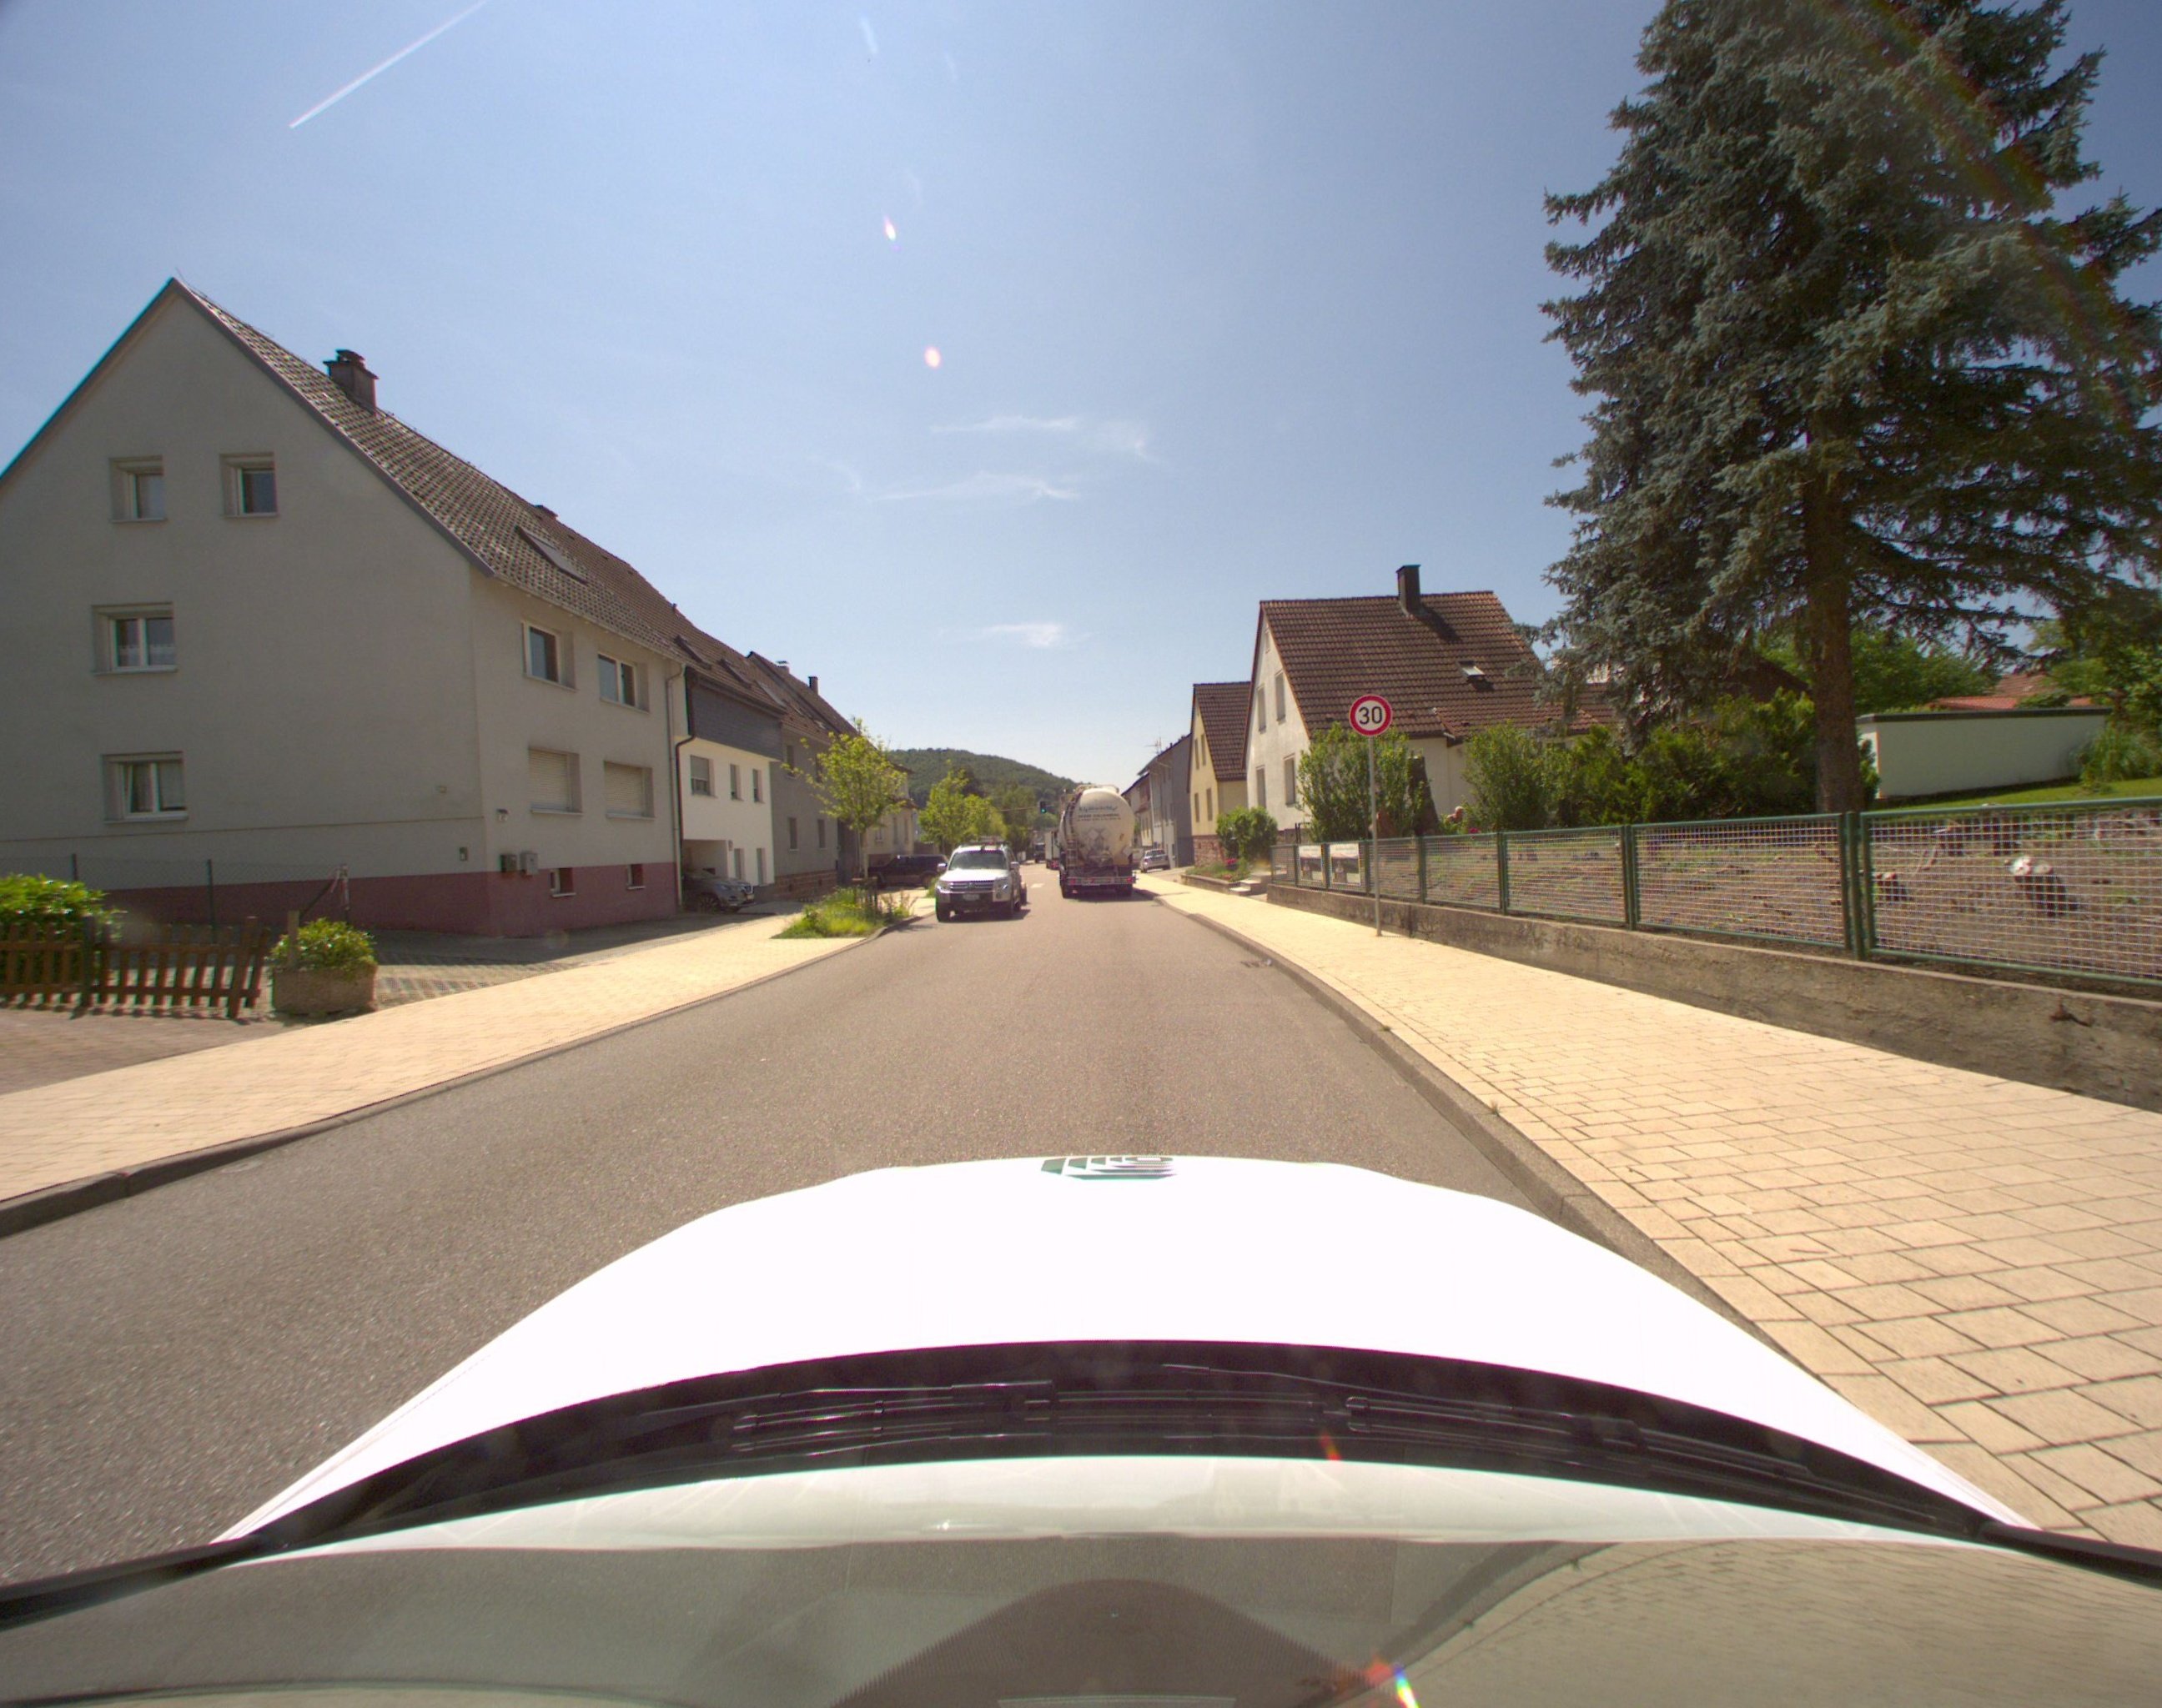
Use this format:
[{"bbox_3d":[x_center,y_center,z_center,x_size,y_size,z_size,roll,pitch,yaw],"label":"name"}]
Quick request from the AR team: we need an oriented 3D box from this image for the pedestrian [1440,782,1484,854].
[{"bbox_3d":[9.089,-0.851,19.425,0.602,1.615,0.552,-7,0,-1],"label":"pedestrian"}]

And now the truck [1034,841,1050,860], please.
[{"bbox_3d":[-6.932,-0.621,145.873,2.721,3.371,8.629,-1,0,-1],"label":"truck"}]

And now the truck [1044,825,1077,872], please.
[{"bbox_3d":[-2.322,-0.444,87.867,2.842,4.679,11.318,0,-1,-5],"label":"truck"}]

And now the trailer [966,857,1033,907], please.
[{"bbox_3d":[-2.494,0.830,25.818,1.569,1.396,4.403,-2,0,1],"label":"trailer"}]

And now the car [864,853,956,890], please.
[{"bbox_3d":[-8.868,0.909,42.607,4.383,1.750,1.876,-2,0,-2],"label":"car"}]

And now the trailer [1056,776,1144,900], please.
[{"bbox_3d":[0.457,-0.528,31.850,2.789,4.001,10.315,-1,0,-2],"label":"trailer"}]

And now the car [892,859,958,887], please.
[{"bbox_3d":[-8.965,1.101,46.784,3.505,1.439,1.709,-2,-1,33],"label":"car"}]

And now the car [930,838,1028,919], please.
[{"bbox_3d":[-2.550,0.592,21.427,1.883,1.861,4.578,-1,0,1],"label":"car"}]

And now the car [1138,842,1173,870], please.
[{"bbox_3d":[4.820,0.147,53.439,1.785,1.541,4.519,-7,0,0],"label":"car"}]

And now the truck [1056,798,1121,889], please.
[{"bbox_3d":[0.241,-0.445,38.466,2.801,3.937,6.094,-1,0,-2],"label":"truck"}]

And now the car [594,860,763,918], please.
[{"bbox_3d":[-11.633,0.986,23.740,3.975,1.545,1.831,-1,0,-1],"label":"car"}]
